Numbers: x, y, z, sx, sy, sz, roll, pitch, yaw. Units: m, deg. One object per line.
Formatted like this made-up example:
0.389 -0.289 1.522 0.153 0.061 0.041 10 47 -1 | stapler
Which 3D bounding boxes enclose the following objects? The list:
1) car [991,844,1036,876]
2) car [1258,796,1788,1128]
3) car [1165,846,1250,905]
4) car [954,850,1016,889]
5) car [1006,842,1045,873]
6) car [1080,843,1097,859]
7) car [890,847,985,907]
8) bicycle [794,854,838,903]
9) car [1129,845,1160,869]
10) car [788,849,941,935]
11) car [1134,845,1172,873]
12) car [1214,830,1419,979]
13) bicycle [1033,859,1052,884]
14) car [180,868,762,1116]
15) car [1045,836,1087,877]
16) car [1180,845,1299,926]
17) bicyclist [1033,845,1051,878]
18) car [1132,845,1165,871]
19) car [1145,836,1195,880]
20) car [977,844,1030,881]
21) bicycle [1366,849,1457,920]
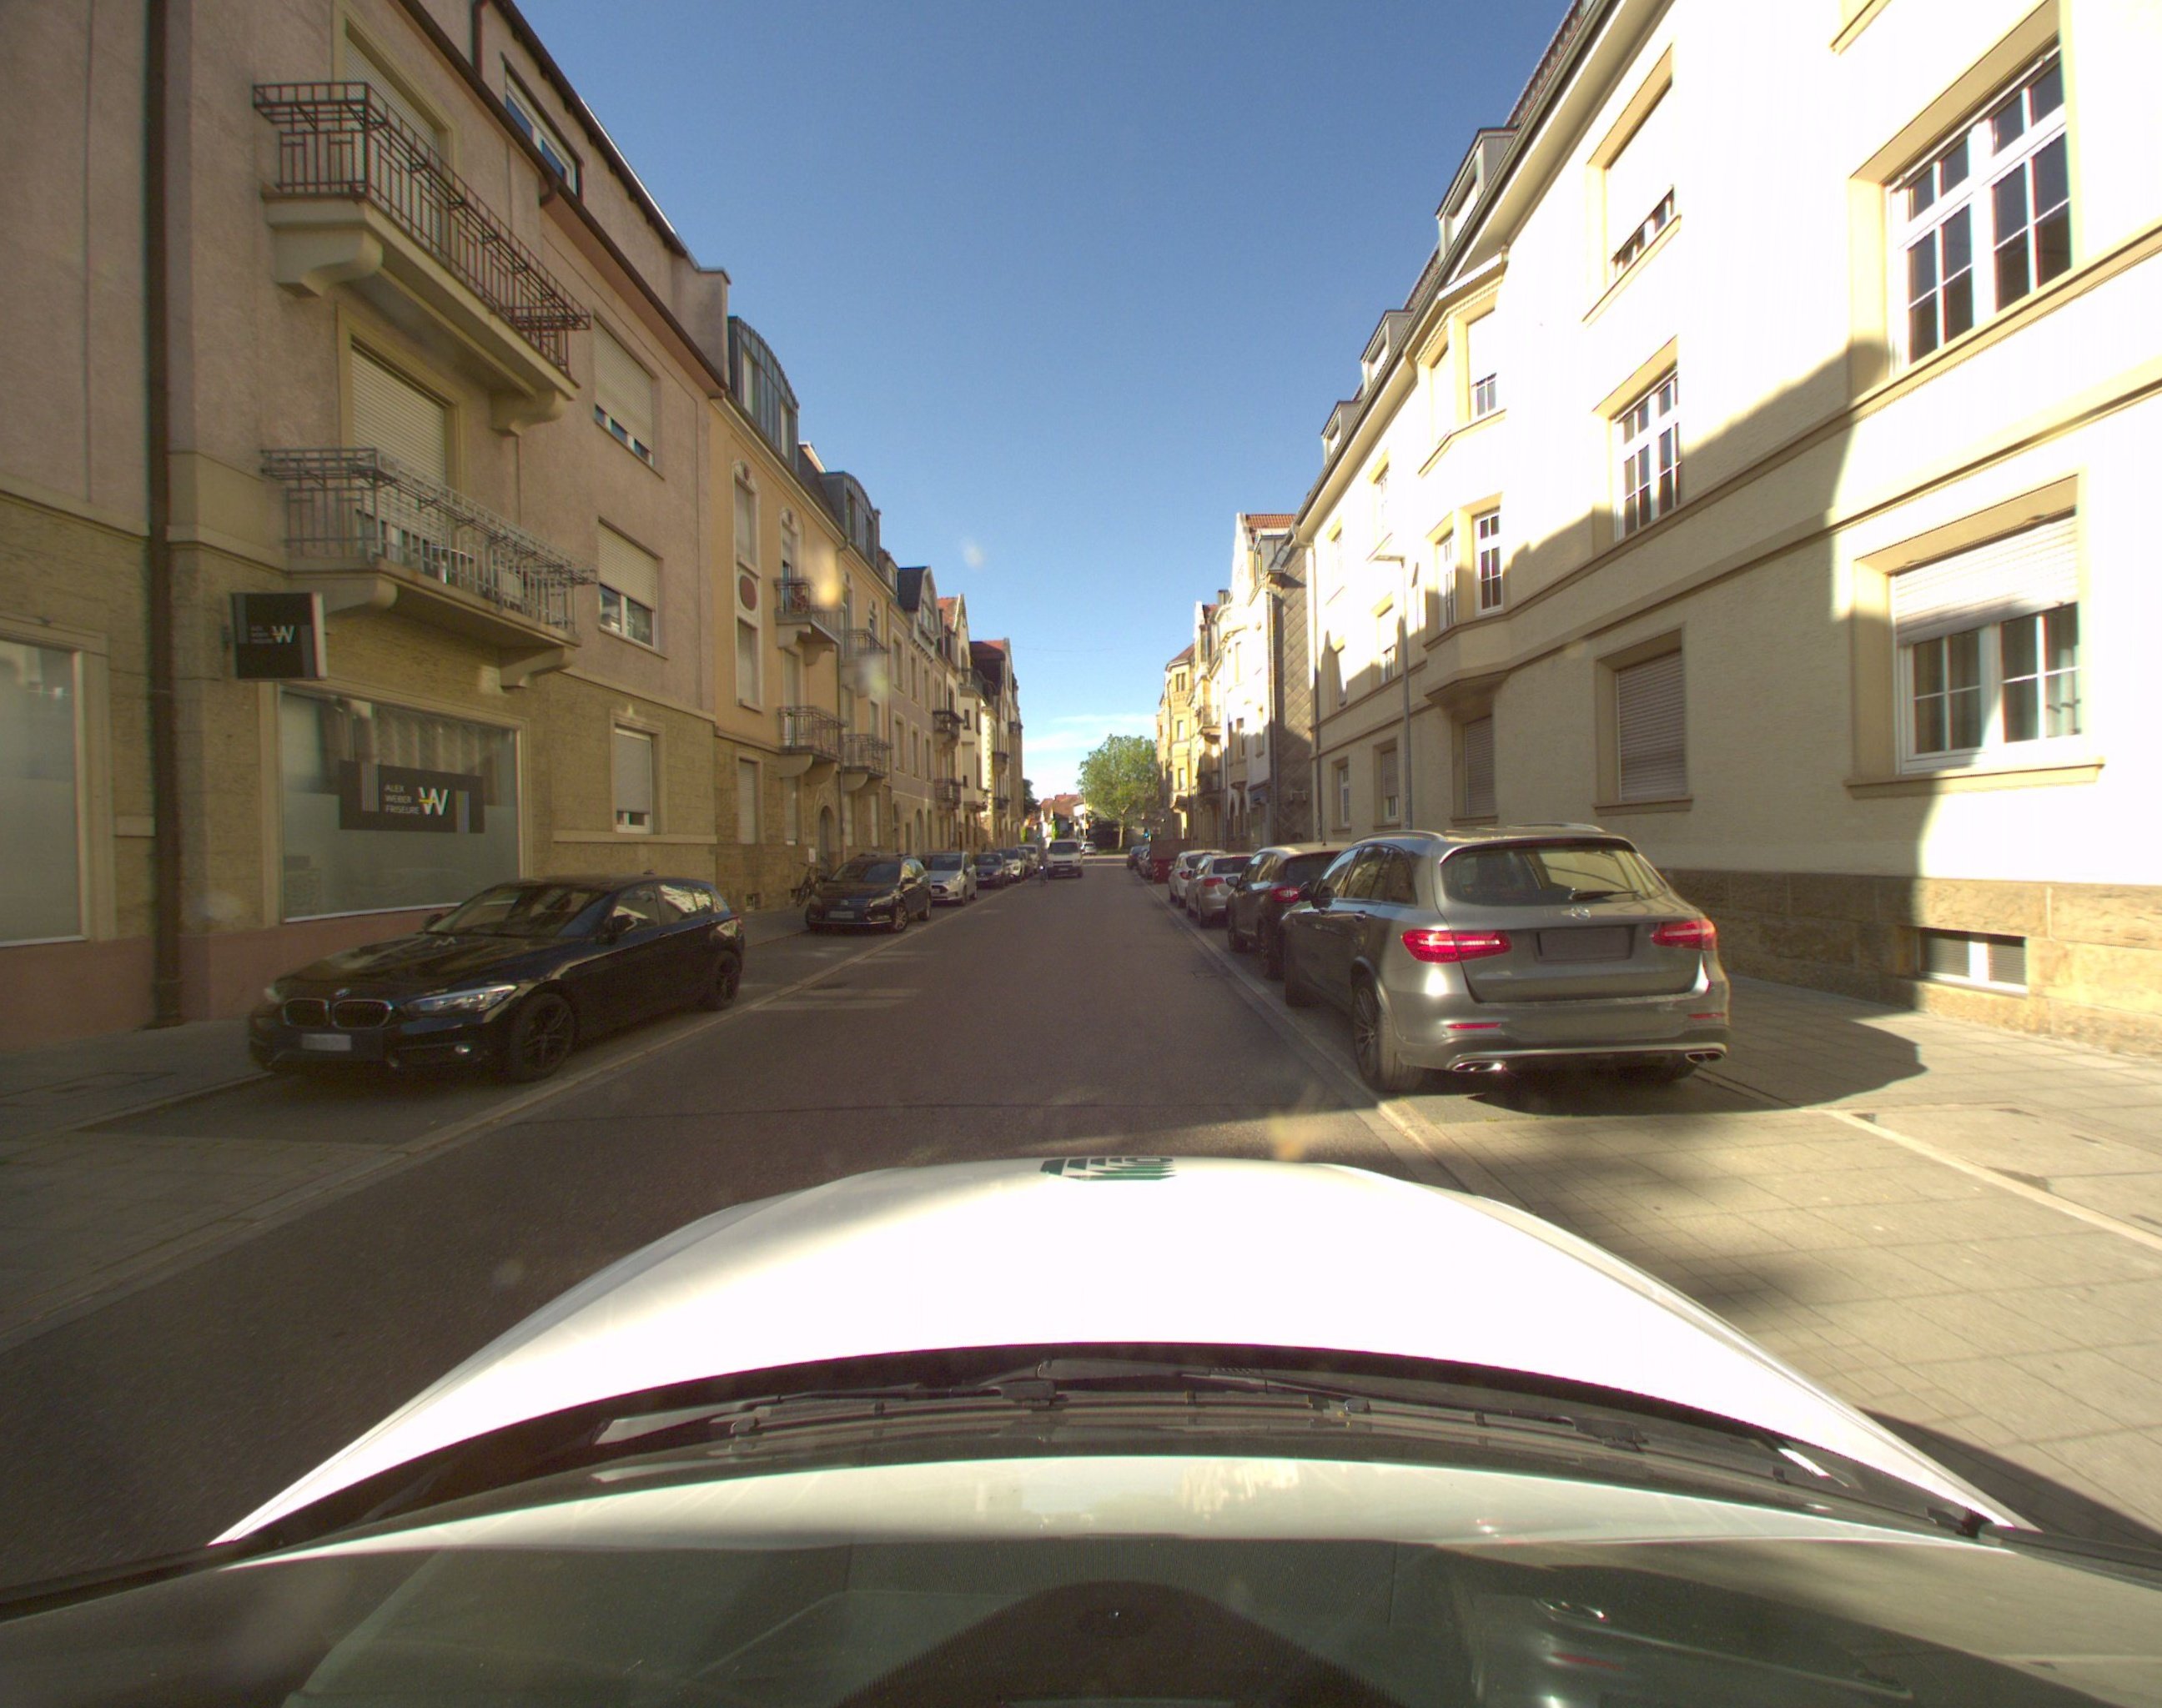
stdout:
-3.593 0.330 44.043 1.996 1.619 4.488 1 0 1 | car
2.788 0.595 6.607 1.905 1.644 4.778 -3 -1 4 | car
3.421 0.573 22.683 1.831 1.431 4.031 -3 -1 2 | car
-3.919 0.598 33.946 1.972 1.482 4.328 1 0 1 | car
-3.318 0.204 49.585 1.996 1.788 4.488 1 0 1 | car
1.003 -0.362 103.309 1.996 1.914 4.489 1 0 1 | car
-4.248 0.640 24.816 1.996 1.619 4.488 1 0 1 | car
-7.432 0.673 22.885 0.538 1.301 1.868 0 0 3 | bicycle
4.206 0.240 54.309 1.831 1.431 4.030 -3 -1 2 | car
-4.453 0.717 17.517 1.996 1.582 4.488 1 0 1 | car
3.942 0.299 45.177 1.831 1.431 4.030 -3 -1 2 | car
2.994 0.605 11.228 1.738 1.608 4.031 -3 -1 2 | car
-1.654 0.745 35.233 0.660 1.019 2.066 -3 0 1 | bicycle
-4.586 0.875 7.131 1.672 1.426 4.278 1 0 3 | car
-0.722 0.122 42.725 1.996 2.000 4.488 1 0 1 | car
3.225 0.618 17.293 1.831 1.431 4.031 -3 -1 2 | car
-1.663 0.336 35.176 0.660 1.385 0.754 -3 0 0 | bicyclist
4.086 0.273 49.747 1.831 1.431 4.030 -3 -1 2 | car
3.828 0.205 35.480 1.831 1.787 4.030 -2 -1 2 | car
-3.583 0.377 38.536 1.996 1.619 4.488 1 0 1 | car
6.391 0.548 15.922 0.758 1.246 2.593 -1 1 2 | bicycle
